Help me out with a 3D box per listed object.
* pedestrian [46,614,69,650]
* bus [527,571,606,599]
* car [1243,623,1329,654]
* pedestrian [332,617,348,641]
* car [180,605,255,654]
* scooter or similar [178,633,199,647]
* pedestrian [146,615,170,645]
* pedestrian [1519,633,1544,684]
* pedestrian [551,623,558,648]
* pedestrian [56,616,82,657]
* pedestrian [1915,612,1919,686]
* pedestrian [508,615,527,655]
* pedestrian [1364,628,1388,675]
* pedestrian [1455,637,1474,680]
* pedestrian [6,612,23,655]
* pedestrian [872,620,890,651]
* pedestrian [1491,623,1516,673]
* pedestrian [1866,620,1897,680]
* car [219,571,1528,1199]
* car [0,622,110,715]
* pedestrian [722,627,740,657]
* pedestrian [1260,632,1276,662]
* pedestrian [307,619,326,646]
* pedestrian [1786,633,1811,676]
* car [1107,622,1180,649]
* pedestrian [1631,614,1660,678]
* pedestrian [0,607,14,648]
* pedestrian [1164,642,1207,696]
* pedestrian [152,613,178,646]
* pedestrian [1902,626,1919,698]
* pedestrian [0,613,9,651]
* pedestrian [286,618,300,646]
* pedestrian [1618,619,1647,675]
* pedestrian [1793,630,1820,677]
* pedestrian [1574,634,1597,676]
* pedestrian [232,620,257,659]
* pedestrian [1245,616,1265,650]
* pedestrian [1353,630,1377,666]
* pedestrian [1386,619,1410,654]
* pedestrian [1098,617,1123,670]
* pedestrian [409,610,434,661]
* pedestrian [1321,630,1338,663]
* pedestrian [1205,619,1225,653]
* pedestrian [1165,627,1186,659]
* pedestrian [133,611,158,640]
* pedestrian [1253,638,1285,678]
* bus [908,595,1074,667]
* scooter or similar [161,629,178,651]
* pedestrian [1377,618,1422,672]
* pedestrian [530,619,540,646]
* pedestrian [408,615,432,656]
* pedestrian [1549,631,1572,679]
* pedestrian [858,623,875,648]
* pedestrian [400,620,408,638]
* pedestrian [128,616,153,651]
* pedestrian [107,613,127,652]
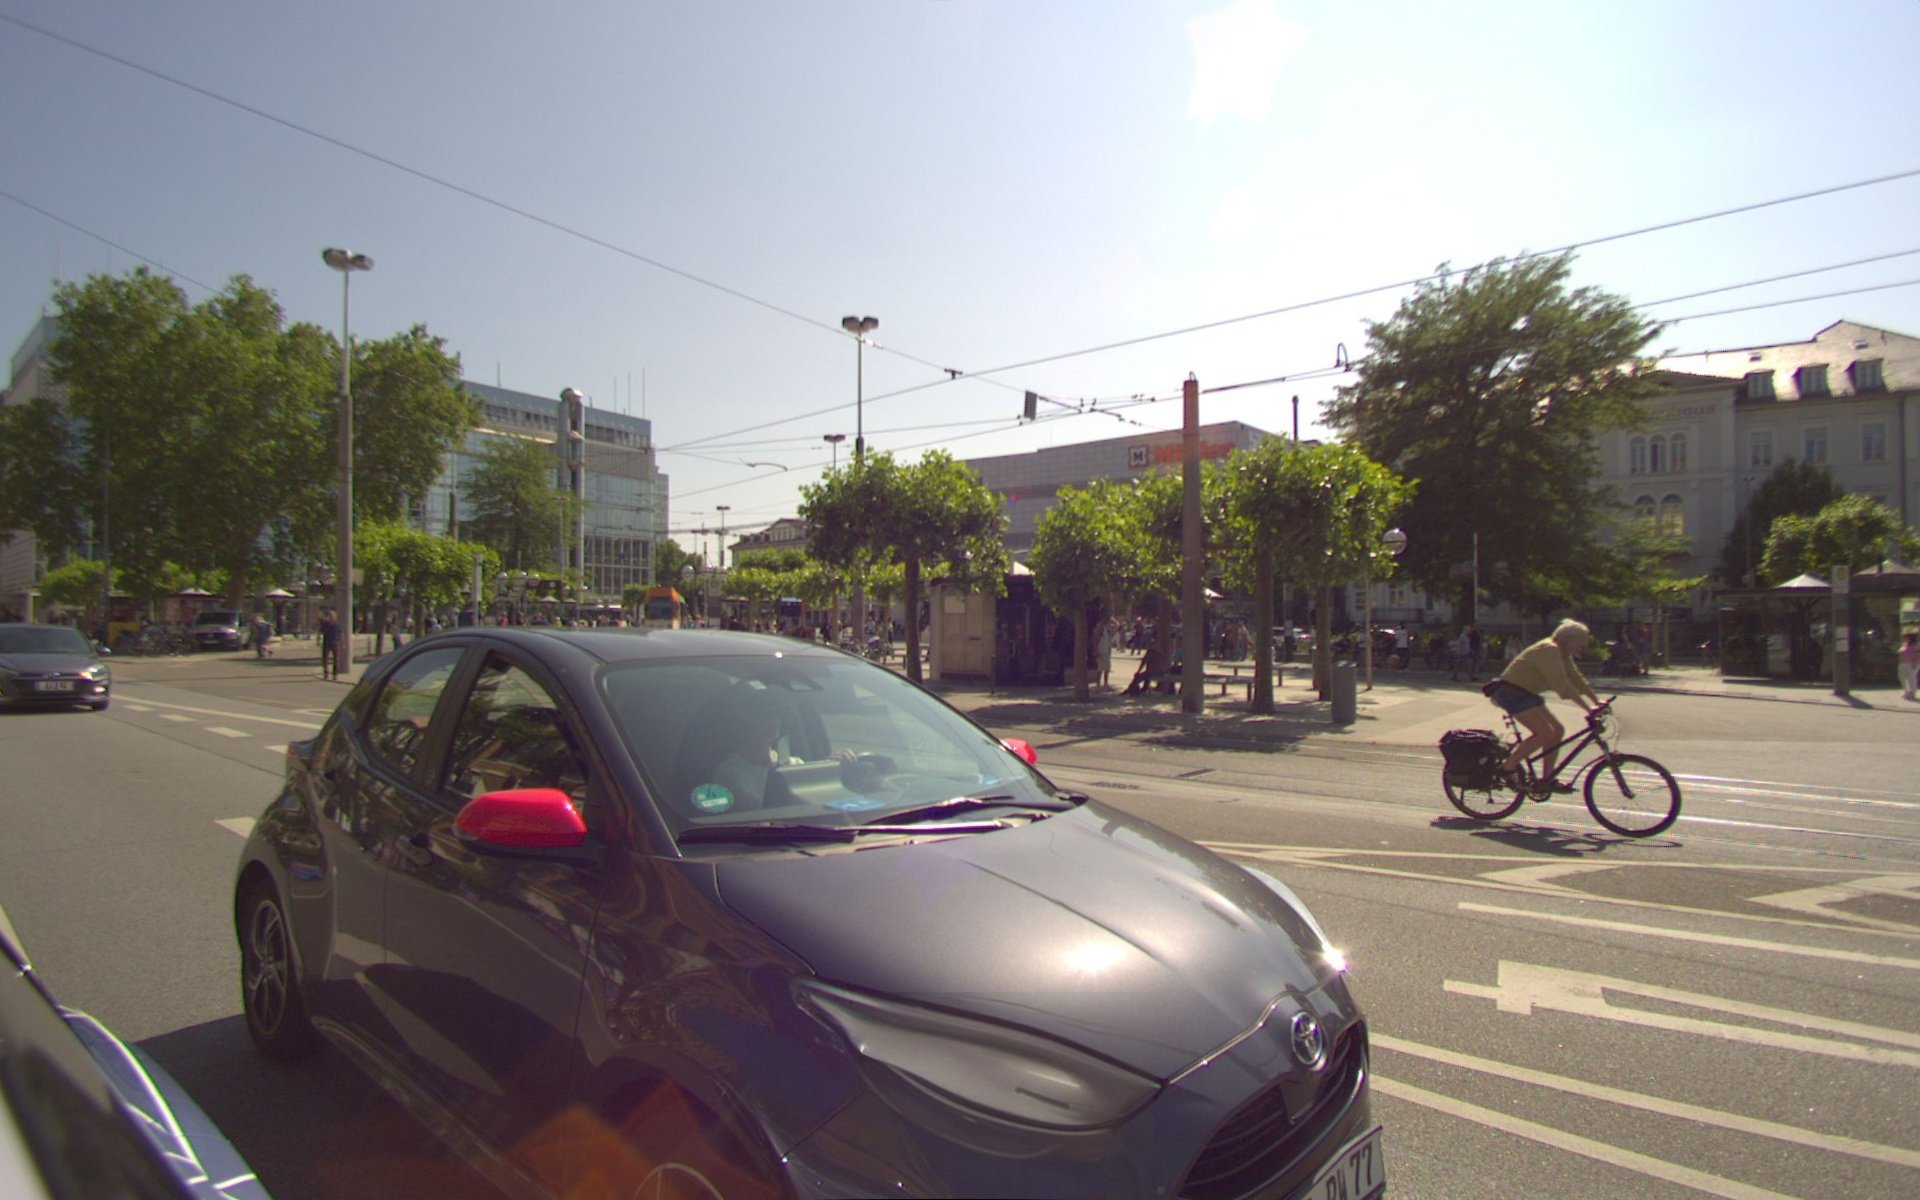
[{"bbox_3d":[-45.009,1.571,50.489,0.666,1.760,0.742,-1,1,39],"label":"pedestrian"},{"bbox_3d":[-42.799,-1.665,110.621,2.363,2.811,12.152,-1,1,8],"label":"bus"},{"bbox_3d":[17.374,2.032,53.978,3.991,1.519,1.740,-1,1,35],"label":"car"},{"bbox_3d":[-46.945,2.201,76.597,0.780,1.760,0.744,-1,0,31],"label":"pedestrian"},{"bbox_3d":[-33.444,1.268,45.739,1.966,2.029,5.083,-1,1,-28],"label":"car"},{"bbox_3d":[-37.193,1.928,48.781,0.570,0.652,0.788,-1,1,-16],"label":"scooter or similar"},{"bbox_3d":[-39.587,1.494,49.963,0.671,1.435,0.744,-1,0,31],"label":"pedestrian"},{"bbox_3d":[19.678,2.001,34.826,0.618,1.742,0.733,-1,-4,40],"label":"pedestrian"},{"bbox_3d":[-25.566,2.229,63.810,0.379,1.561,0.413,2,-4,-24],"label":"pedestrian"},{"bbox_3d":[-38.429,1.567,43.669,0.640,1.704,0.637,-1,0,28],"label":"pedestrian"},{"bbox_3d":[26.594,1.336,27.606,0.621,2.023,0.736,4,-4,-44],"label":"pedestrian"},{"bbox_3d":[-20.431,1.628,46.723,0.605,1.830,0.570,-2,-4,40],"label":"pedestrian"},{"bbox_3d":[15.915,1.974,38.681,0.572,1.792,0.624,3,-4,-35],"label":"pedestrian"},{"bbox_3d":[15.045,1.747,30.180,0.479,1.273,0.400,0,-4,22],"label":"pedestrian"},{"bbox_3d":[-42.184,1.487,45.160,0.510,1.849,0.716,-1,1,-41],"label":"pedestrian"},{"bbox_3d":[-3.877,1.739,49.701,0.621,1.477,0.675,-1,-4,25],"label":"pedestrian"},{"bbox_3d":[18.972,1.673,35.342,0.618,1.742,0.733,-1,-4,40],"label":"pedestrian"},{"bbox_3d":[27.233,1.473,29.919,0.618,1.742,0.733,-1,-4,40],"label":"pedestrian"},{"bbox_3d":[-0.732,0.757,3.081,4.001,1.486,1.757,-1,-2,44],"label":"car"},{"bbox_3d":[-16.050,1.113,17.346,3.999,1.415,1.677,-1,-3,42],"label":"car"},{"bbox_3d":[-12.360,2.272,54.679,0.675,1.610,0.621,0,-4,19],"label":"pedestrian"},{"bbox_3d":[13.077,1.999,42.942,0.511,1.273,0.453,4,-5,-45],"label":"pedestrian"},{"bbox_3d":[-41.711,2.102,65.622,0.780,1.760,0.744,-1,0,31],"label":"pedestrian"},{"bbox_3d":[26.699,1.737,32.221,0.598,1.369,0.562,-1,-4,40],"label":"pedestrian"},{"bbox_3d":[11.151,2.142,61.479,3.991,1.519,1.740,-1,1,35],"label":"car"},{"bbox_3d":[22.130,1.480,32.670,0.627,2.023,0.542,0,-3,19],"label":"pedestrian"},{"bbox_3d":[-43.965,1.274,46.509,0.738,1.860,0.587,-1,-2,39],"label":"pedestrian"},{"bbox_3d":[5.090,1.549,22.820,0.751,1.180,0.669,-1,-4,35],"label":"pedestrian"},{"bbox_3d":[-38.885,1.442,49.509,0.780,1.608,0.744,-1,0,31],"label":"pedestrian"},{"bbox_3d":[23.025,1.483,24.154,0.705,1.719,0.670,-1,-4,40],"label":"pedestrian"},{"bbox_3d":[-42.213,1.398,44.266,0.620,1.661,0.754,-1,0,-23],"label":"pedestrian"},{"bbox_3d":[-42.372,2.043,64.330,0.629,1.706,0.754,-1,0,-27],"label":"pedestrian"},{"bbox_3d":[21.468,1.486,32.307,0.627,1.762,0.542,0,-3,19],"label":"pedestrian"},{"bbox_3d":[25.827,1.635,30.872,0.598,1.401,0.562,-1,-4,40],"label":"pedestrian"},{"bbox_3d":[20.907,1.837,33.838,0.616,1.396,0.735,0,-3,29],"label":"pedestrian"},{"bbox_3d":[-28.089,1.549,39.729,0.680,1.536,0.616,-2,-4,41],"label":"pedestrian"},{"bbox_3d":[12.970,1.467,44.536,0.679,1.477,0.617,-1,-4,36],"label":"pedestrian"},{"bbox_3d":[14.502,1.727,36.223,0.613,1.273,0.583,4,-4,-40],"label":"pedestrian"},{"bbox_3d":[16.474,1.380,38.076,0.572,1.273,0.624,3,-4,-35],"label":"pedestrian"},{"bbox_3d":[4.729,1.373,31.777,0.549,1.620,0.600,-2,-5,43],"label":"pedestrian"},{"bbox_3d":[-21.889,1.426,41.156,0.563,2.023,0.686,0,-1,32],"label":"pedestrian"},{"bbox_3d":[14.752,1.864,40.388,0.510,1.273,0.454,4,-4,-38],"label":"pedestrian"},{"bbox_3d":[11.357,1.590,45.024,0.679,1.477,0.617,-1,-4,36],"label":"pedestrian"},{"bbox_3d":[10.331,2.066,48.519,0.741,1.477,0.780,-1,-4,36],"label":"pedestrian"},{"bbox_3d":[-40.308,1.263,50.077,0.780,1.418,0.744,-1,1,31],"label":"pedestrian"},{"bbox_3d":[7.923,1.477,25.930,0.580,1.008,0.627,-2,-5,43],"label":"pedestrian"},{"bbox_3d":[1.336,1.533,56.134,3.014,3.445,12.498,-1,1,-30],"label":"bus"},{"bbox_3d":[-40.649,2.057,52.059,0.559,1.128,0.540,-1,0,-22],"label":"scooter or similar"},{"bbox_3d":[15.089,1.536,34.755,0.953,1.807,1.082,4,-4,-40],"label":"pedestrian"},{"bbox_3d":[-24.979,1.914,59.509,0.467,1.561,0.493,2,-4,-24],"label":"pedestrian"},{"bbox_3d":[-23.809,1.577,44.642,0.671,1.808,0.625,1,-3,-1],"label":"pedestrian"},{"bbox_3d":[20.269,1.852,34.180,0.616,1.611,0.735,-1,-3,29],"label":"pedestrian"},{"bbox_3d":[-5.884,2.222,63.752,0.840,1.561,0.677,0,-3,14],"label":"pedestrian"},{"bbox_3d":[-46.370,2.395,84.350,0.410,1.483,0.459,-1,1,39],"label":"pedestrian"},{"bbox_3d":[-41.777,1.709,51.601,0.739,1.760,0.785,-1,0,-23],"label":"pedestrian"},{"bbox_3d":[-38.215,1.471,45.889,0.516,1.755,0.511,-1,0,28],"label":"pedestrian"}]
